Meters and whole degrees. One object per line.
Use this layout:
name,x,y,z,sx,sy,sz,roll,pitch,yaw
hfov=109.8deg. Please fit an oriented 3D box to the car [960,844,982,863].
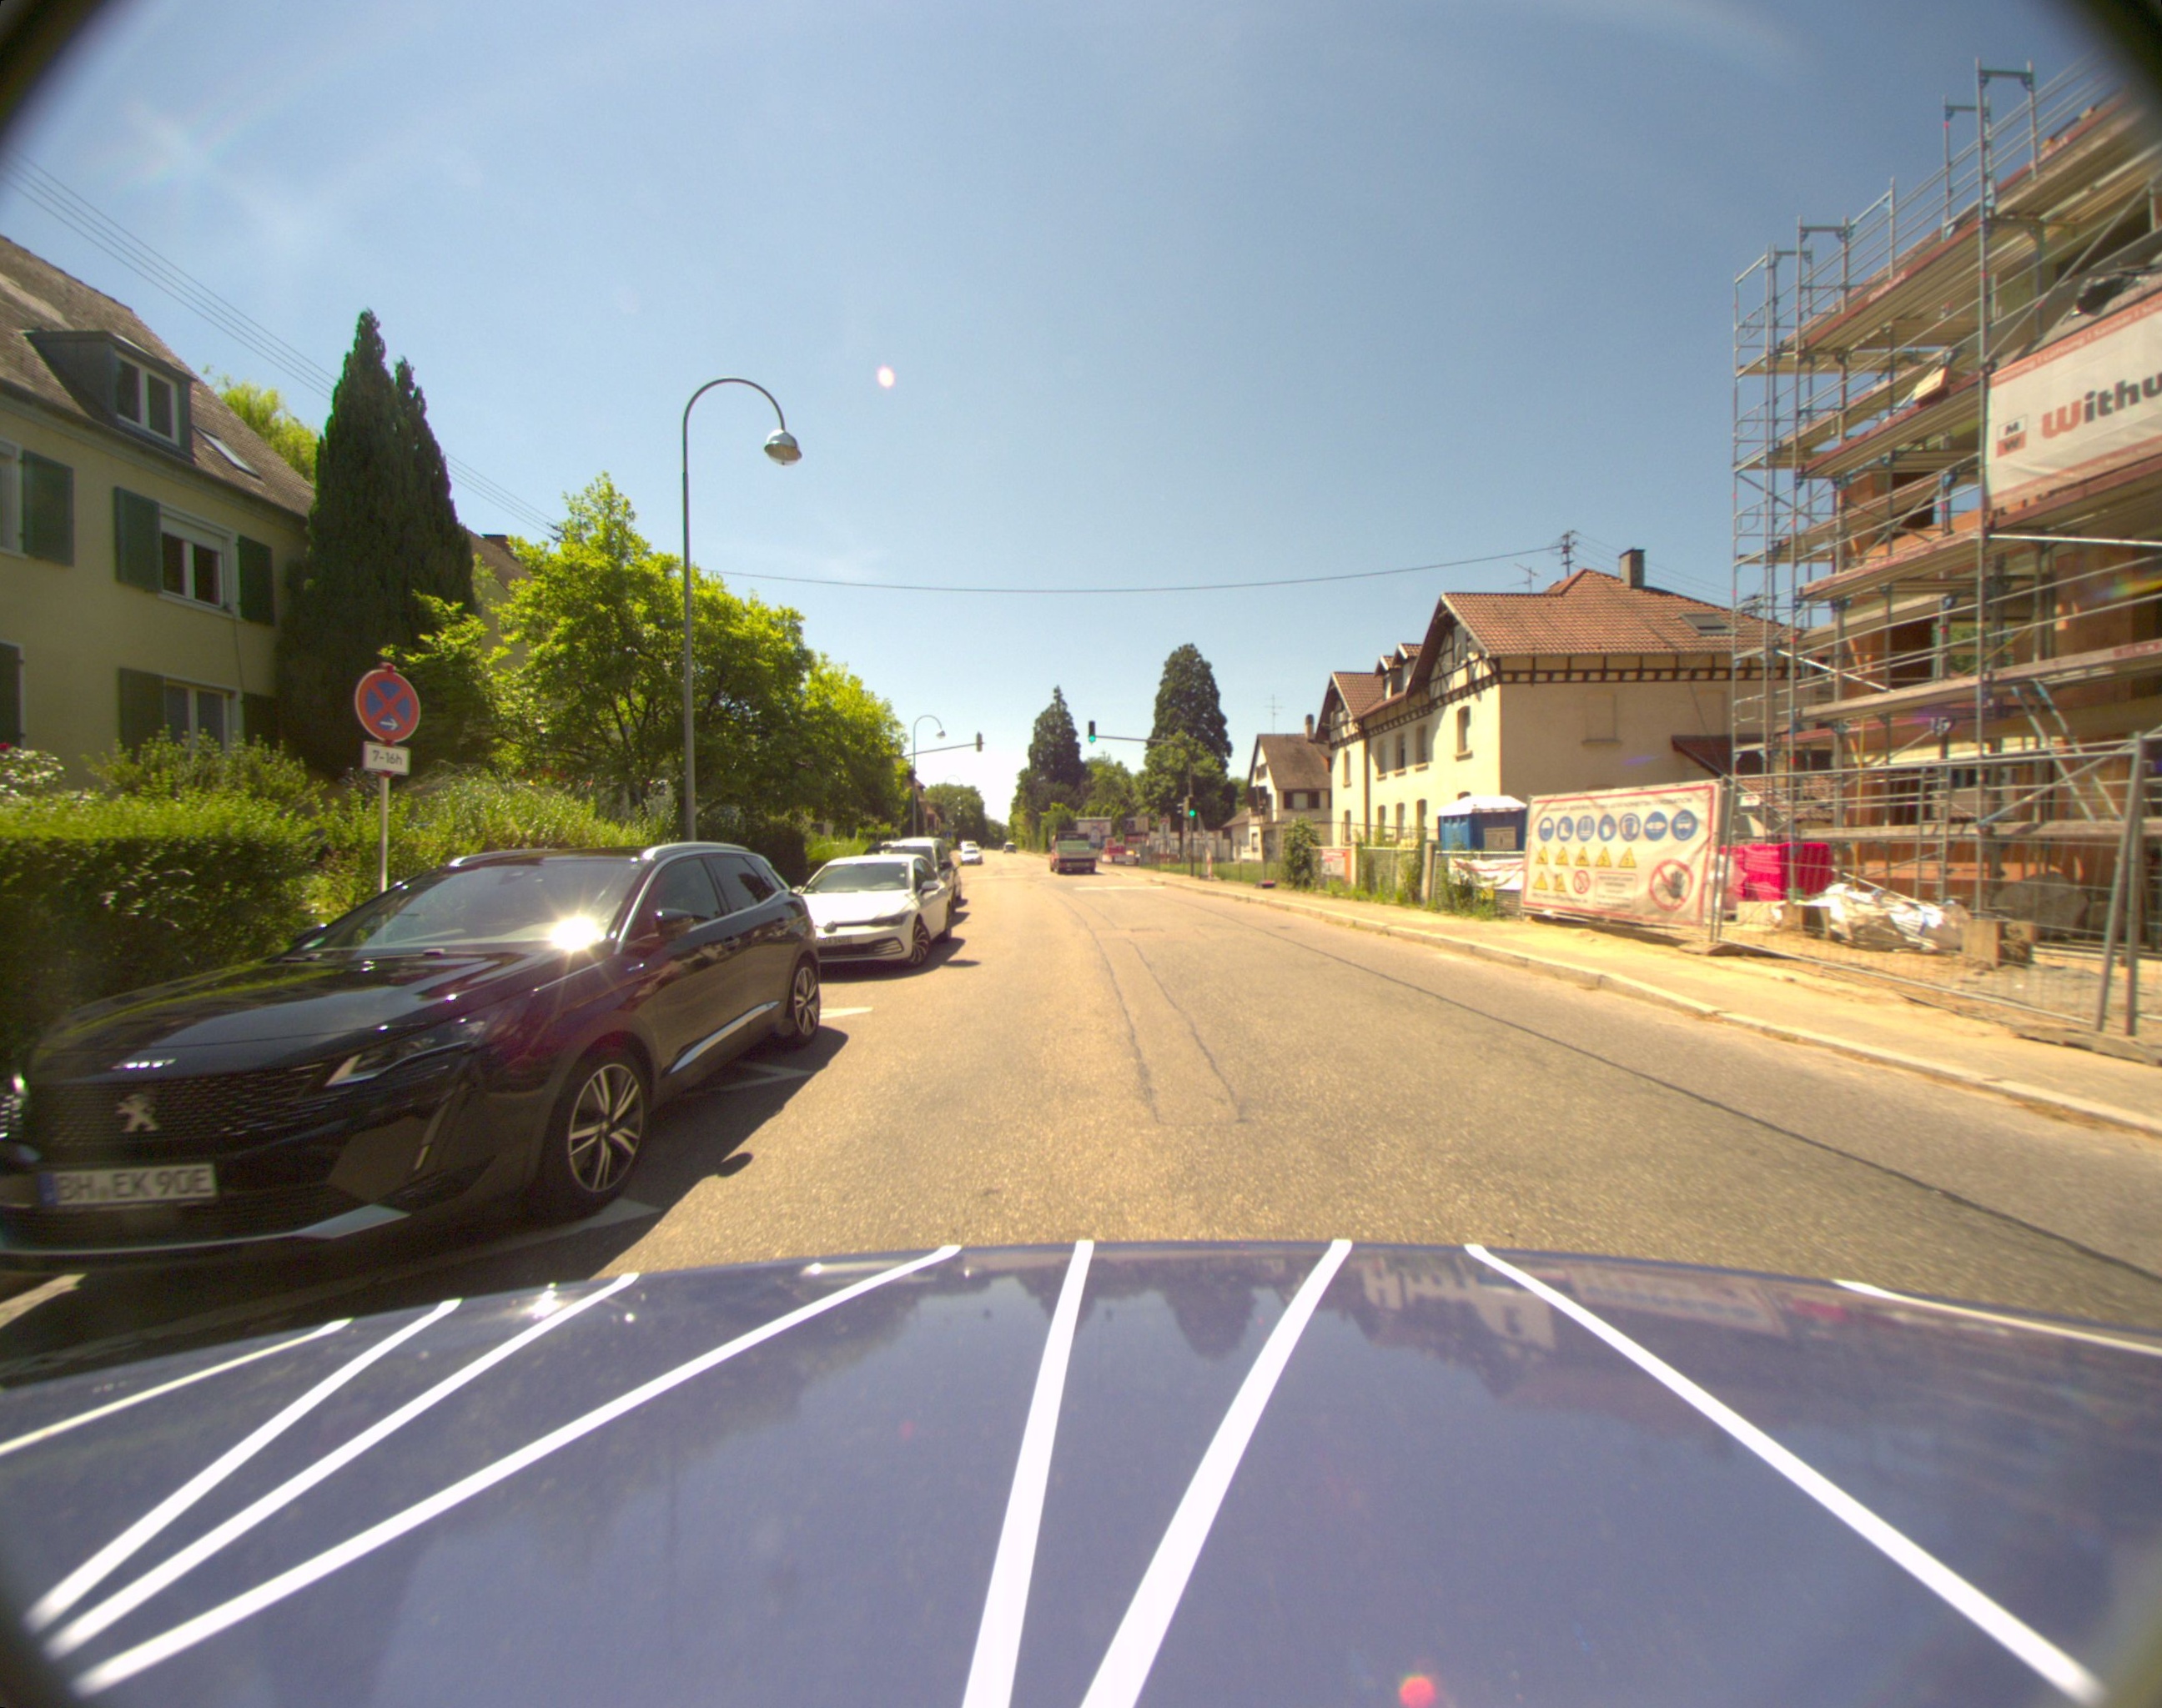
car,-9.380,-0.042,64.634,1.672,1.457,3.995,-3,2,-10

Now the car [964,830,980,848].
car,-13.390,-1.857,93.099,1.853,1.859,4.684,-3,4,-9

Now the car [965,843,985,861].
car,-9.739,-0.180,69.772,1.672,1.427,3.995,-4,2,-9

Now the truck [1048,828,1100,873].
truck,-0.478,-0.265,42.932,2.134,2.326,6.428,-1,2,-8

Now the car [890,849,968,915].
car,-4.135,0.695,21.213,1.633,1.455,4.012,-4,2,-6

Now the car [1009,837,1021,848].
car,-10.101,-1.722,115.751,1.657,1.553,3.881,0,2,-6

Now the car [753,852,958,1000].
car,-2.907,0.826,10.756,1.666,1.428,4.126,-4,2,-2

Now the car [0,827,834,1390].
car,-2.938,0.669,4.227,1.666,1.530,4.201,-3,2,0

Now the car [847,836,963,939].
car,-3.664,0.586,16.550,1.666,1.793,4.199,-4,2,-4
